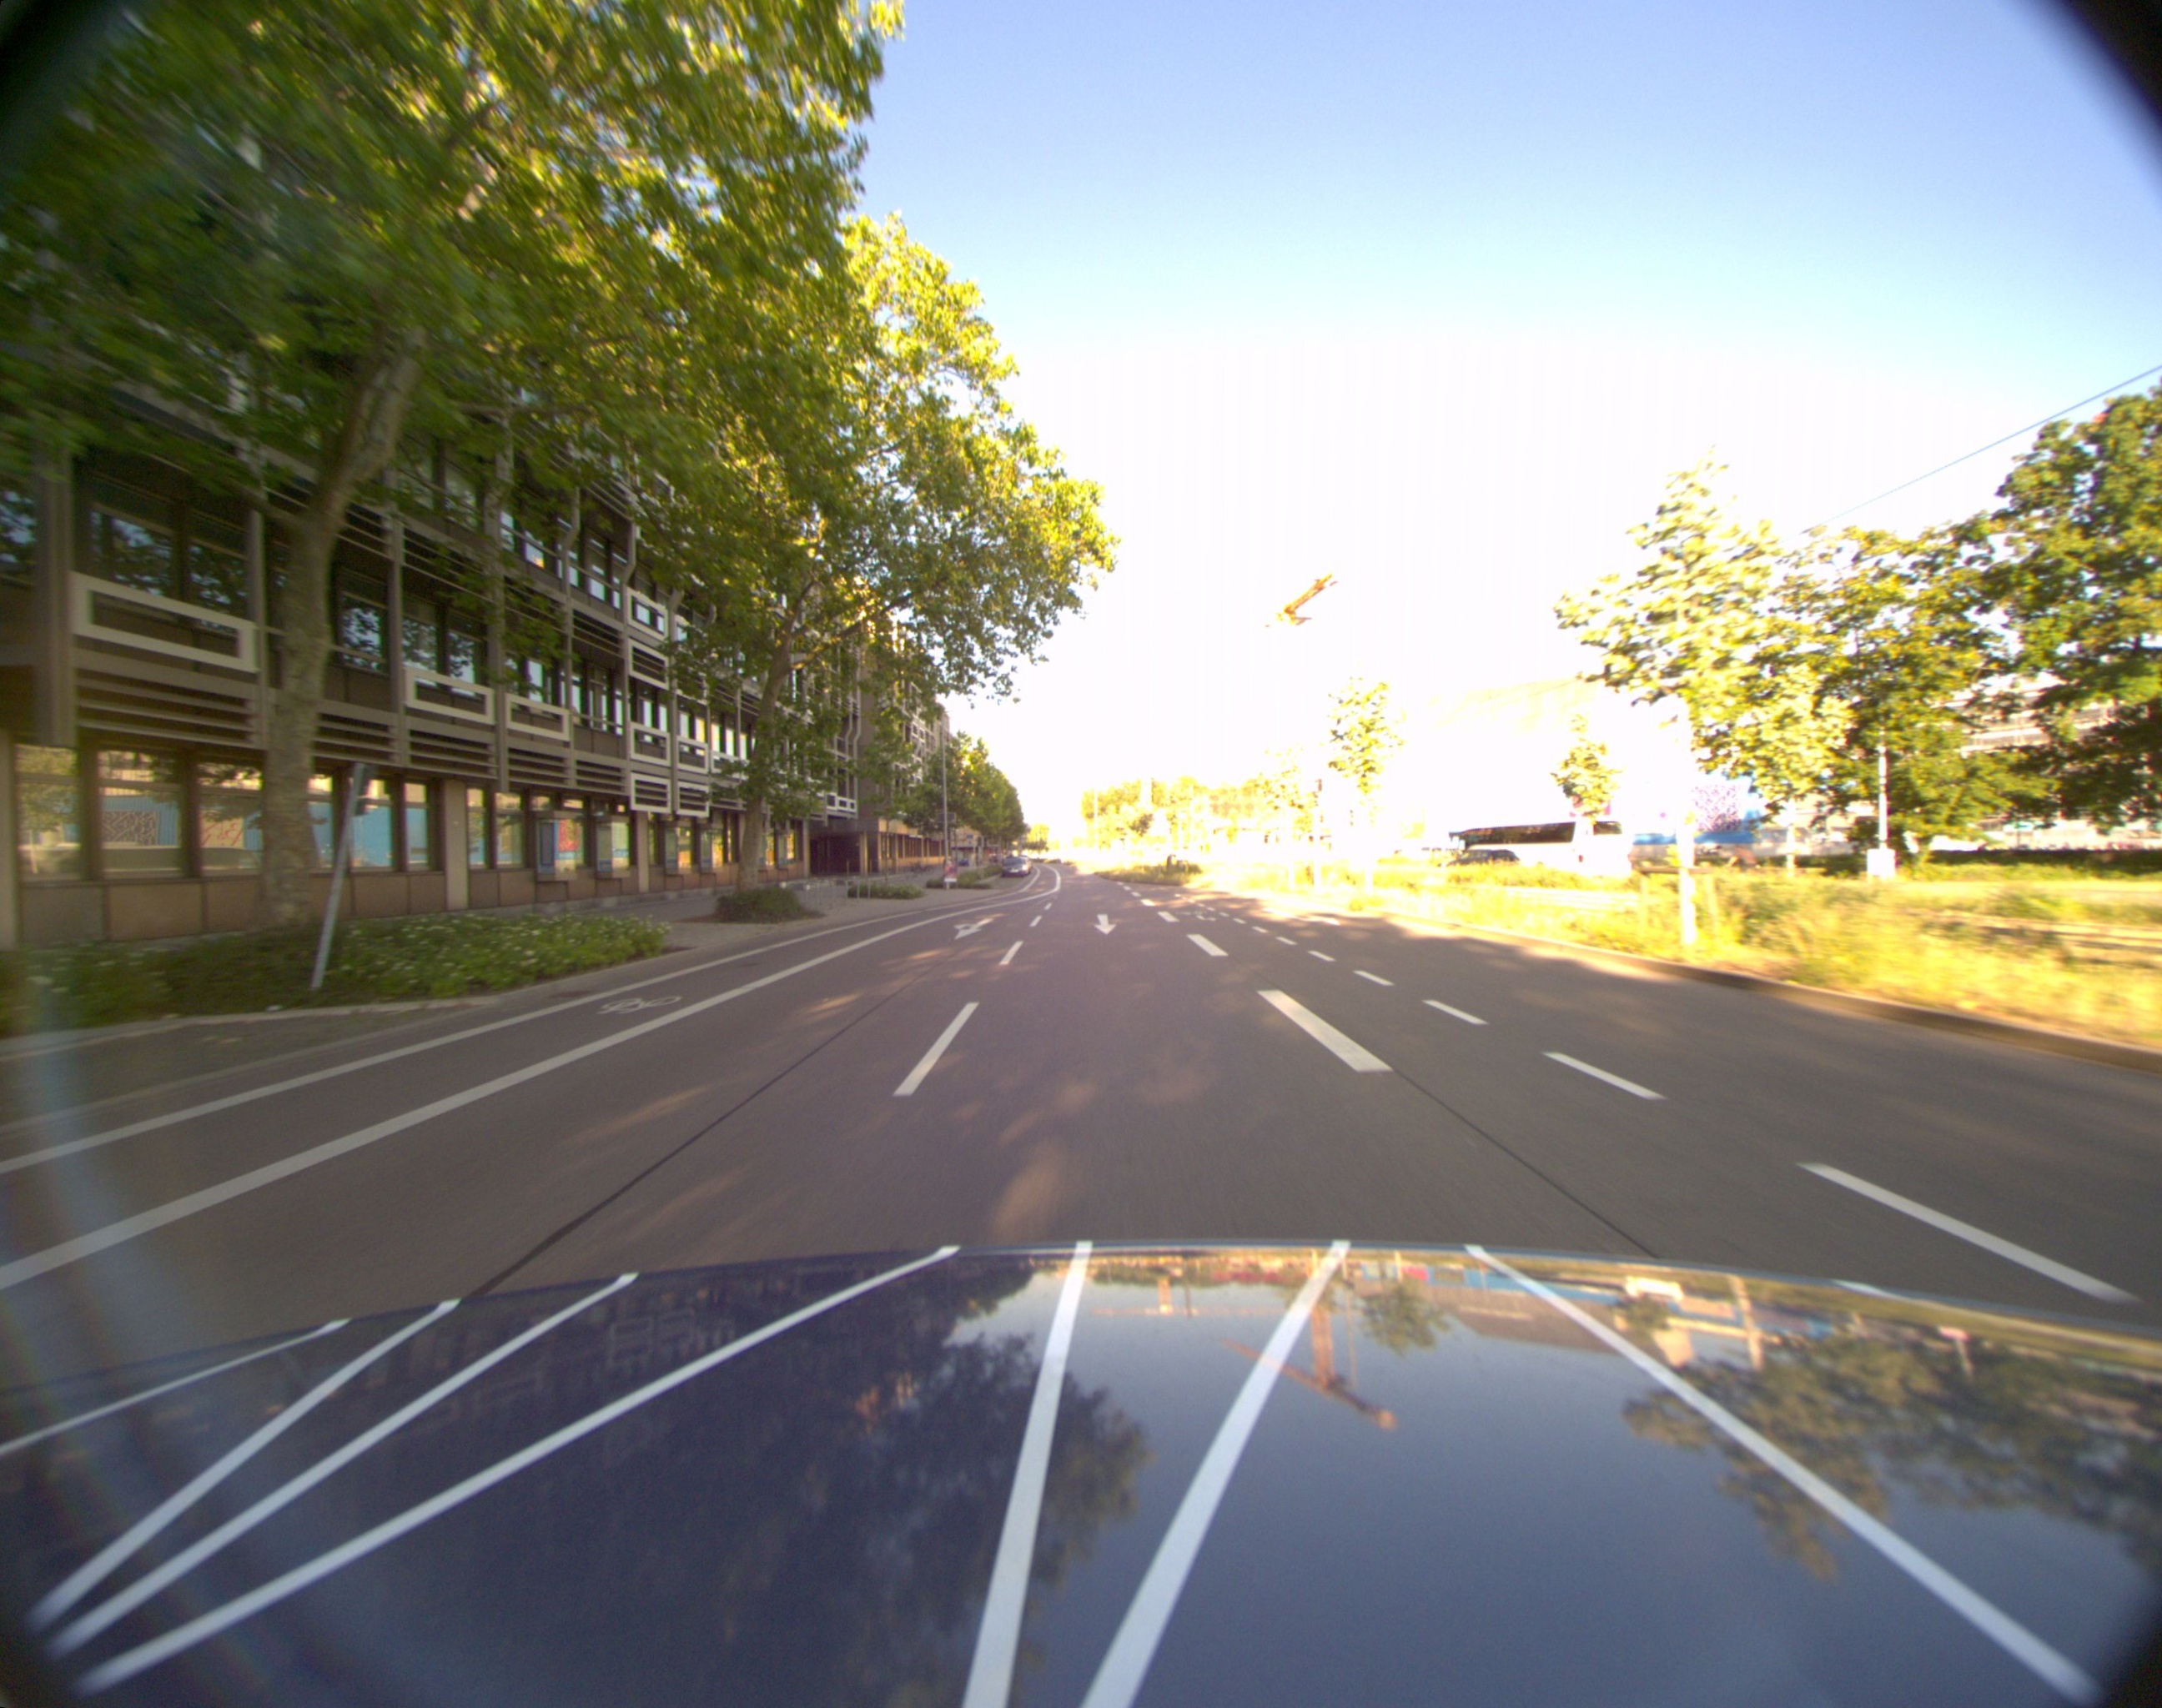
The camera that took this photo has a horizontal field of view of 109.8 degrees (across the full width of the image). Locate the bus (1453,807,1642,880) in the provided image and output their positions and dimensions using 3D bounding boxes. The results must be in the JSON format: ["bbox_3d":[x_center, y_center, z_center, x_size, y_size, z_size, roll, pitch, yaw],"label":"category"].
[{"bbox_3d":[26.187,-0.545,43.889,2.806,3.574,12.695,-1,0,-2],"label":"bus"}]

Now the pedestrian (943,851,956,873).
[{"bbox_3d":[-10.166,0.612,58.836,0.791,1.639,1.136,0,1,-1],"label":"pedestrian"}]

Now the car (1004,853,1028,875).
[{"bbox_3d":[-5.172,0.797,60.781,1.733,1.678,4.513,1,0,-3],"label":"car"}]

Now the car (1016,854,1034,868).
[{"bbox_3d":[-6.123,0.711,83.422,1.668,1.481,4.203,1,0,-1],"label":"car"}]

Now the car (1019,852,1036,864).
[{"bbox_3d":[-7.122,0.507,100.650,1.937,1.589,4.695,1,0,-8],"label":"car"}]

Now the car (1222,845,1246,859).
[{"bbox_3d":[19.285,-0.263,95.997,1.999,1.633,4.166,-1,0,-2],"label":"car"}]

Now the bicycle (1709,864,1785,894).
[{"bbox_3d":[24.279,0.903,27.760,0.689,0.997,2.361,-1,0,0],"label":"bicycle"}]

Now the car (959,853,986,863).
[{"bbox_3d":[-17.877,0.656,124.891,4.277,1.442,1.860,-1,2,-14],"label":"car"}]

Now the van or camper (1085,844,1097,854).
[{"bbox_3d":[2.790,-1.341,213.302,2.229,2.495,7.195,1,0,-9],"label":"van or camper"}]

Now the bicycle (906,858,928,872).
[{"bbox_3d":[-12.857,0.887,59.496,1.631,1.076,0.392,0,1,0],"label":"bicycle"}]

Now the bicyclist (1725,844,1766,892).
[{"bbox_3d":[24.278,0.508,27.777,0.689,1.698,0.954,-1,1,0],"label":"bicyclist"}]

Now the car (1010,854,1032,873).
[{"bbox_3d":[-5.247,0.829,66.917,1.733,1.612,4.215,1,0,-3],"label":"car"}]

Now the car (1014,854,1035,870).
[{"bbox_3d":[-5.329,0.773,72.348,1.799,1.440,4.375,1,0,-2],"label":"car"}]

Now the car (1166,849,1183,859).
[{"bbox_3d":[15.617,0.013,126.880,1.999,1.641,4.269,-1,0,-3],"label":"car"}]

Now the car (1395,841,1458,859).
[{"bbox_3d":[33.686,-0.402,74.119,5.241,1.707,2.124,-1,1,-3],"label":"car"}]

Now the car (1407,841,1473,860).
[{"bbox_3d":[33.689,-0.329,71.340,5.241,1.707,2.124,-1,1,-3],"label":"car"}]

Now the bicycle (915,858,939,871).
[{"bbox_3d":[-12.522,0.859,61.851,1.905,1.086,0.392,0,1,-7],"label":"bicycle"}]

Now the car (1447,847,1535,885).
[{"bbox_3d":[20.789,0.568,38.779,1.875,1.755,4.812,-1,0,-1],"label":"car"}]
